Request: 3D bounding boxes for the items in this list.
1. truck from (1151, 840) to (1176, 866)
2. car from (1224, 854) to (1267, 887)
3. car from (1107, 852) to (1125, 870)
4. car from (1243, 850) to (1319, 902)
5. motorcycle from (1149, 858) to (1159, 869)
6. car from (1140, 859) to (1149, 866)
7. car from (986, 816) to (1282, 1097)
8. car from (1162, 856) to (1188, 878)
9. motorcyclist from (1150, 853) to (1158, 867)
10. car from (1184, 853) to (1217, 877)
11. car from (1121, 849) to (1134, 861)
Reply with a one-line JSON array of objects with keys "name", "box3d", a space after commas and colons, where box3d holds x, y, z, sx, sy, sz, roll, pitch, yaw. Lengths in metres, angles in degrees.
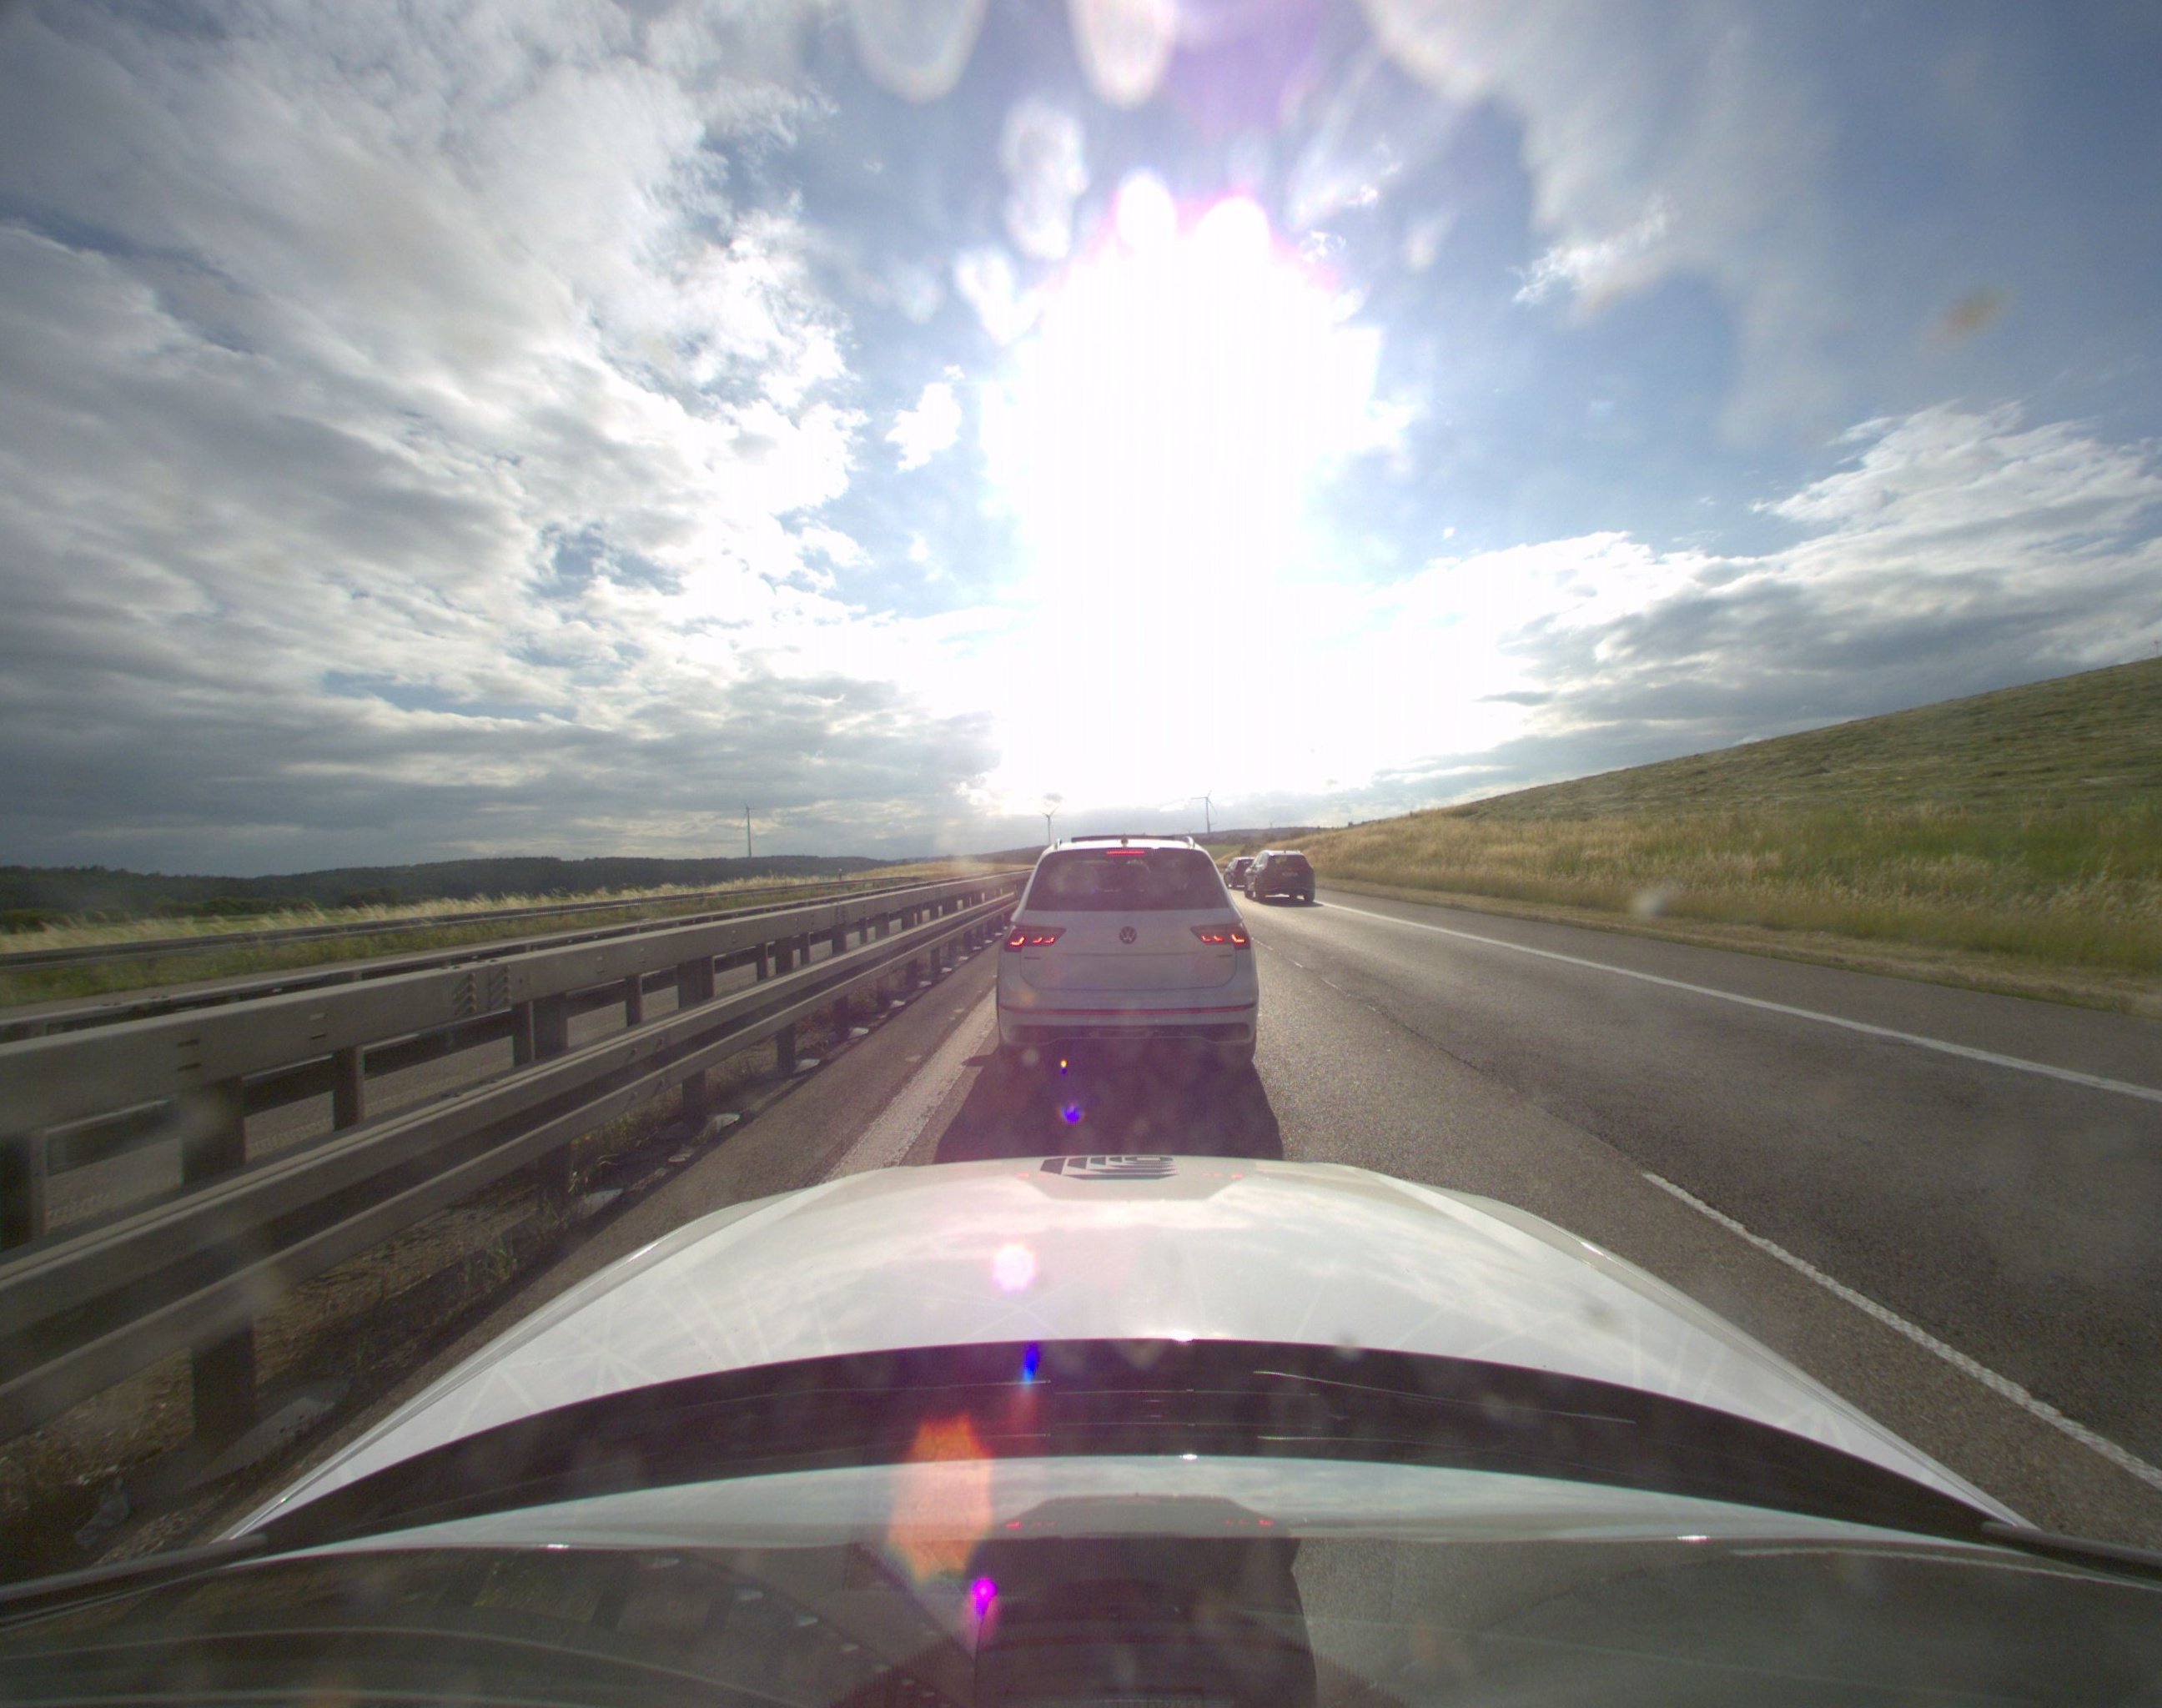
[{"name": "truck", "box3d": [12.172, -0.173, 121.212, 3.170, 3.594, 11.142, -1, 0, 4]}, {"name": "car", "box3d": [7.563, 0.740, 37.696, 1.597, 1.420, 3.678, -1, -1, 6]}, {"name": "car", "box3d": [3.429, 0.703, 80.167, 1.697, 1.650, 4.001, -1, -1, 2]}, {"name": "car", "box3d": [6.667, 0.706, 27.546, 1.813, 1.601, 4.239, 0, -1, 4]}, {"name": "motorcycle", "box3d": [8.293, 1.092, 92.704, 0.892, 1.190, 2.257, -1, -1, 1]}, {"name": "car", "box3d": [13.884, 1.853, 177.216, 1.697, 1.546, 4.001, -1, -1, 2]}, {"name": "car", "box3d": [0.385, 0.643, 6.948, 1.763, 1.675, 4.001, -1, -1, 2]}, {"name": "car", "box3d": [7.467, 1.044, 64.885, 1.697, 1.650, 4.001, -1, -1, 2]}, {"name": "motorcyclist", "box3d": [8.287, 0.735, 92.663, 0.846, 1.560, 0.934, -1, -1, 1]}, {"name": "car", "box3d": [7.986, 0.720, 54.630, 1.697, 1.546, 4.001, -1, -1, 2]}, {"name": "car", "box3d": [6.256, 0.199, 110.174, 1.697, 1.546, 4.001, -1, -1, 2]}]
